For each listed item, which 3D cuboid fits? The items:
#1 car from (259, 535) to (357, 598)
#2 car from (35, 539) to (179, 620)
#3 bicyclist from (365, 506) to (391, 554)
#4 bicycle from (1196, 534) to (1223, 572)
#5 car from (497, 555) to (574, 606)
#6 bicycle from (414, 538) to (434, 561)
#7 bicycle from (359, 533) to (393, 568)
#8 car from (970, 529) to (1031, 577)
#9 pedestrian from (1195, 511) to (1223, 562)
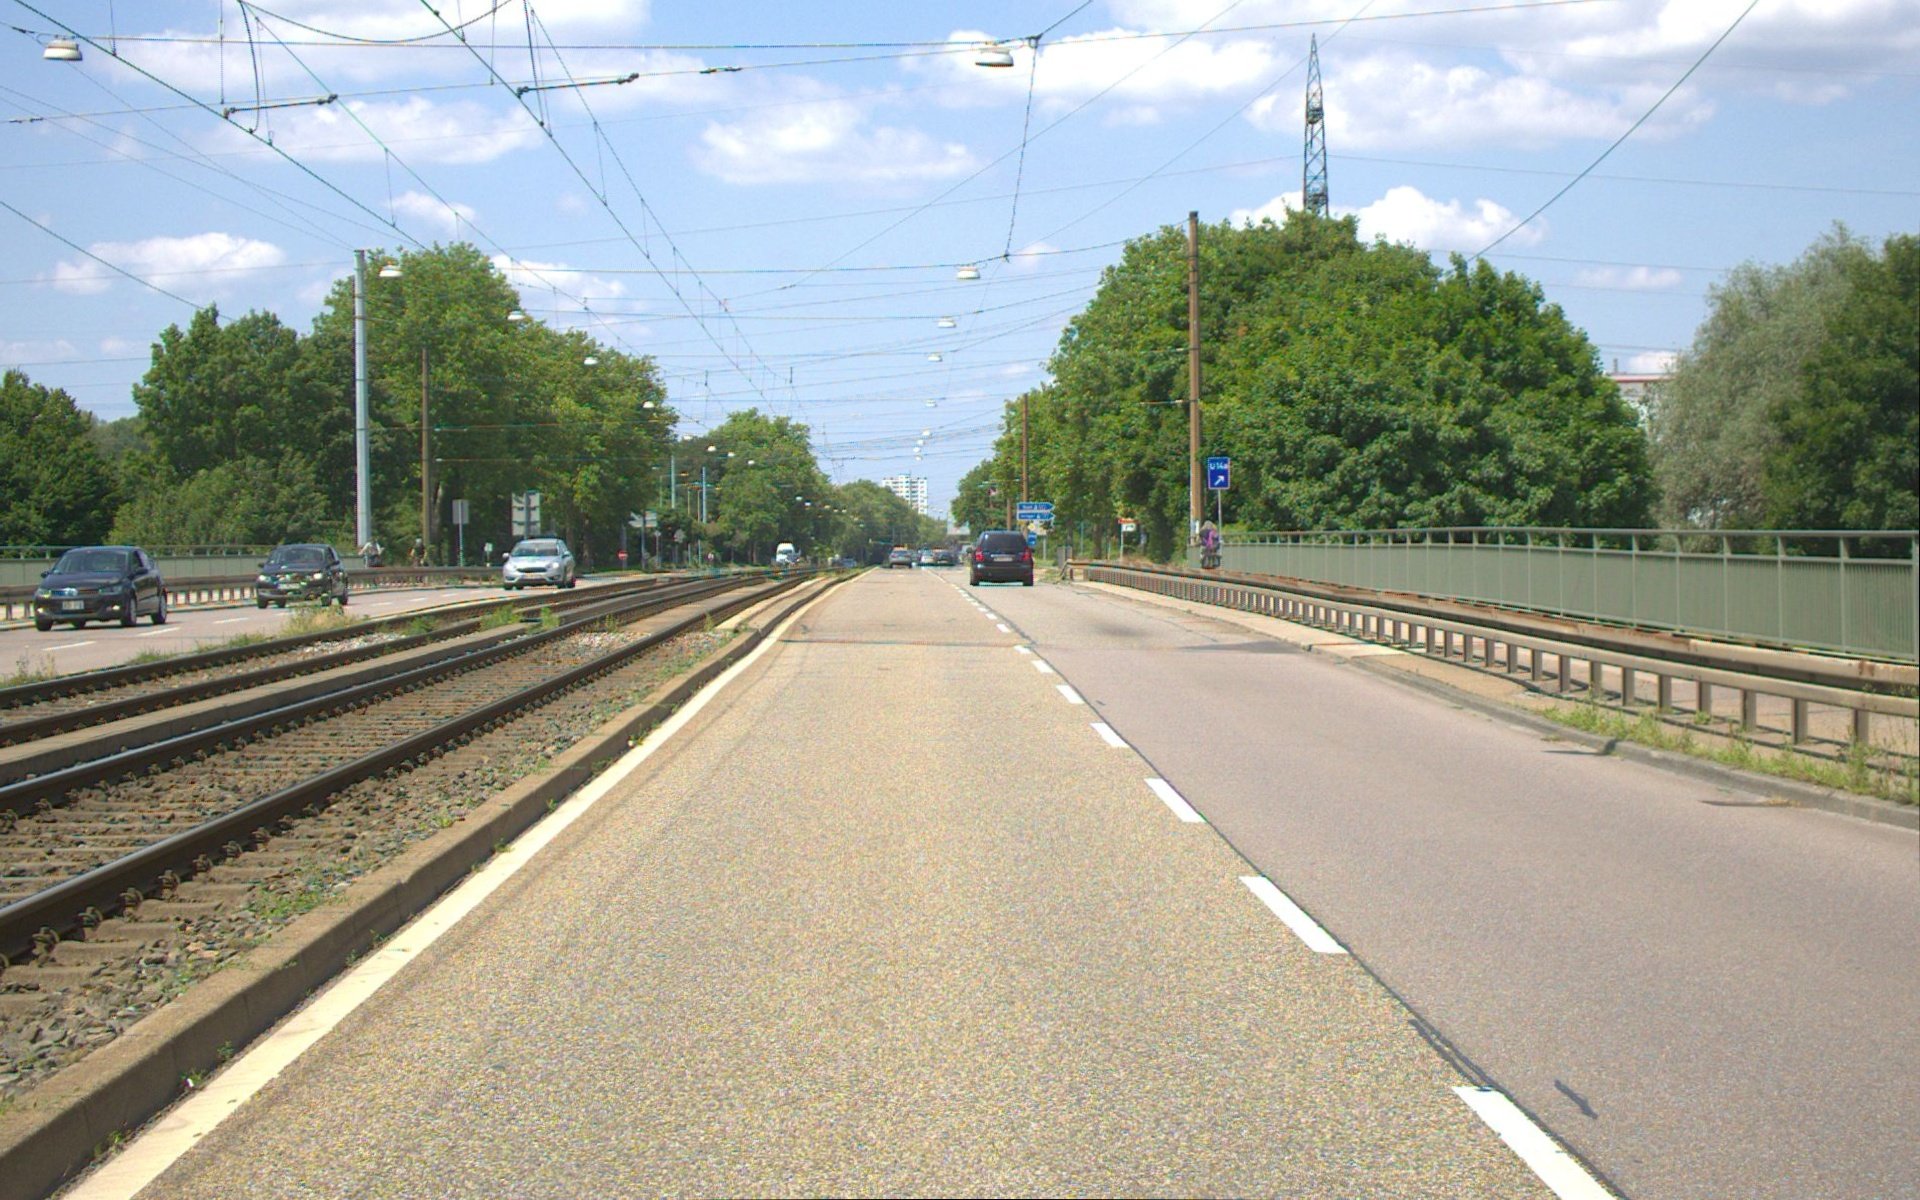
[{"bbox_3d":[-15.059,-0.783,79.542,1.574,1.395,3.938,-1,1,-1],"label":"car"},{"bbox_3d":[-14.994,-0.378,60.574,1.563,1.342,3.929,-1,1,-1],"label":"car"},{"bbox_3d":[-19.893,-2.388,117.525,0.763,1.616,0.838,1,1,-1],"label":"bicyclist"},{"bbox_3d":[6.681,-1.257,92.261,0.559,1.021,1.848,-1,1,-1],"label":"bicycle"},{"bbox_3d":[-12.430,-0.593,100.850,1.711,1.415,4.624,-1,1,-1],"label":"car"},{"bbox_3d":[-20.139,-1.914,129.264,0.522,0.840,2.036,1,1,-3],"label":"bicycle"},{"bbox_3d":[-19.933,-1.701,117.410,0.857,1.181,2.062,1,1,-1],"label":"bicycle"},{"bbox_3d":[1.152,-1.361,99.019,1.586,1.338,3.273,-1,1,-2],"label":"car"},{"bbox_3d":[6.677,-1.699,92.251,0.628,1.369,1.050,-1,1,-1],"label":"pedestrian"}]
